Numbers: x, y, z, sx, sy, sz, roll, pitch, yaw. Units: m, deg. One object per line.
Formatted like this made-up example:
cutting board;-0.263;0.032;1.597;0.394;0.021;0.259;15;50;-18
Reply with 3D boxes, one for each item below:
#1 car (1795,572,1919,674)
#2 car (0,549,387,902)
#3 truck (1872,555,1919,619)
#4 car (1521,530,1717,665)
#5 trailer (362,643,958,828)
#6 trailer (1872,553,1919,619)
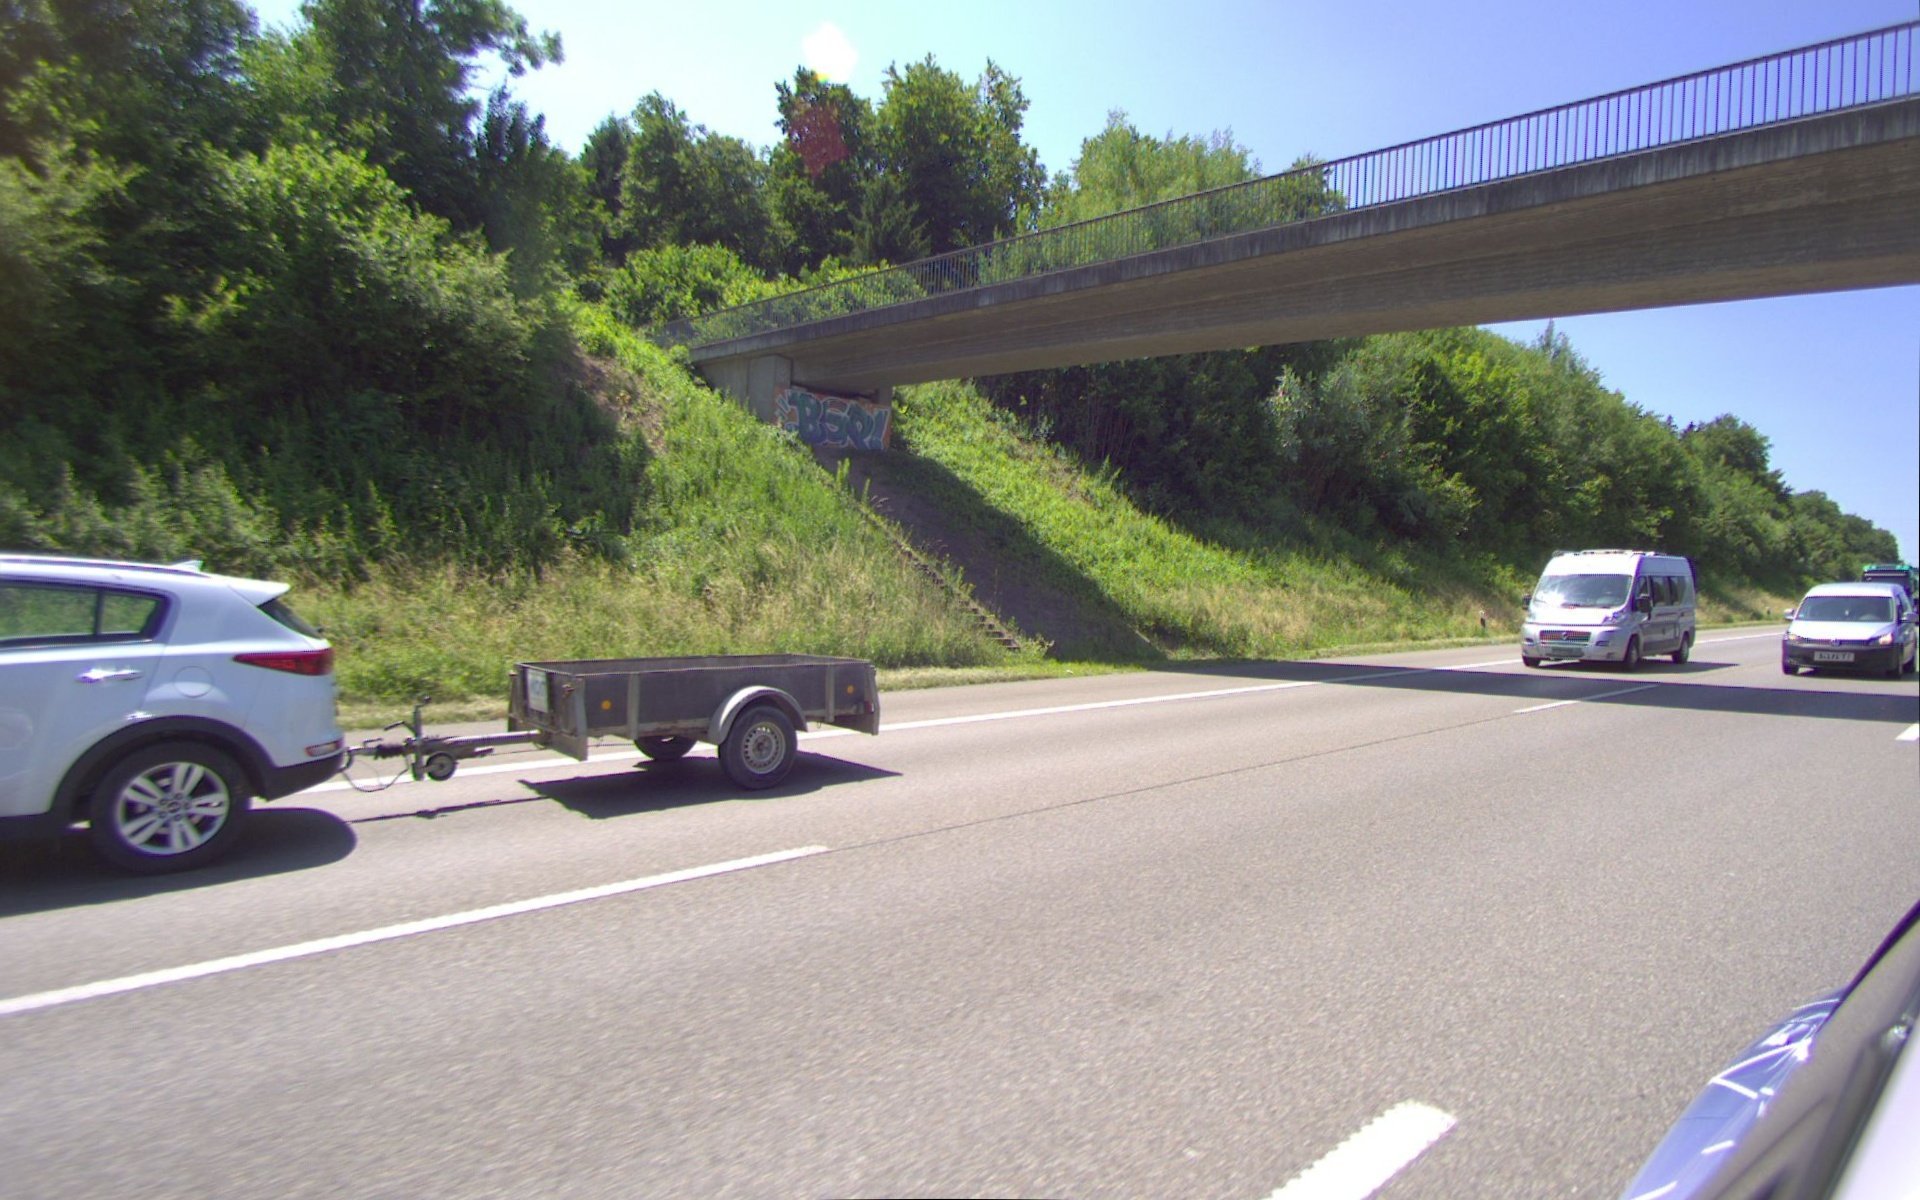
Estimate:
car;18.429;0.407;20.559;4.721;1.853;1.747;0;0;-44
car;-5.537;0.576;5.102;4.326;1.672;1.784;1;-1;-42
truck;58.917;-0.760;63.340;4.812;3.891;2.511;1;-1;-45
car;14.867;-0.004;22.616;6.507;2.609;2.092;1;-1;-42
trailer;-2.174;0.890;8.084;4.244;0.920;1.757;0;0;-42
trailer;62.555;-0.790;66.899;10.294;4.079;2.590;1;-1;-44
